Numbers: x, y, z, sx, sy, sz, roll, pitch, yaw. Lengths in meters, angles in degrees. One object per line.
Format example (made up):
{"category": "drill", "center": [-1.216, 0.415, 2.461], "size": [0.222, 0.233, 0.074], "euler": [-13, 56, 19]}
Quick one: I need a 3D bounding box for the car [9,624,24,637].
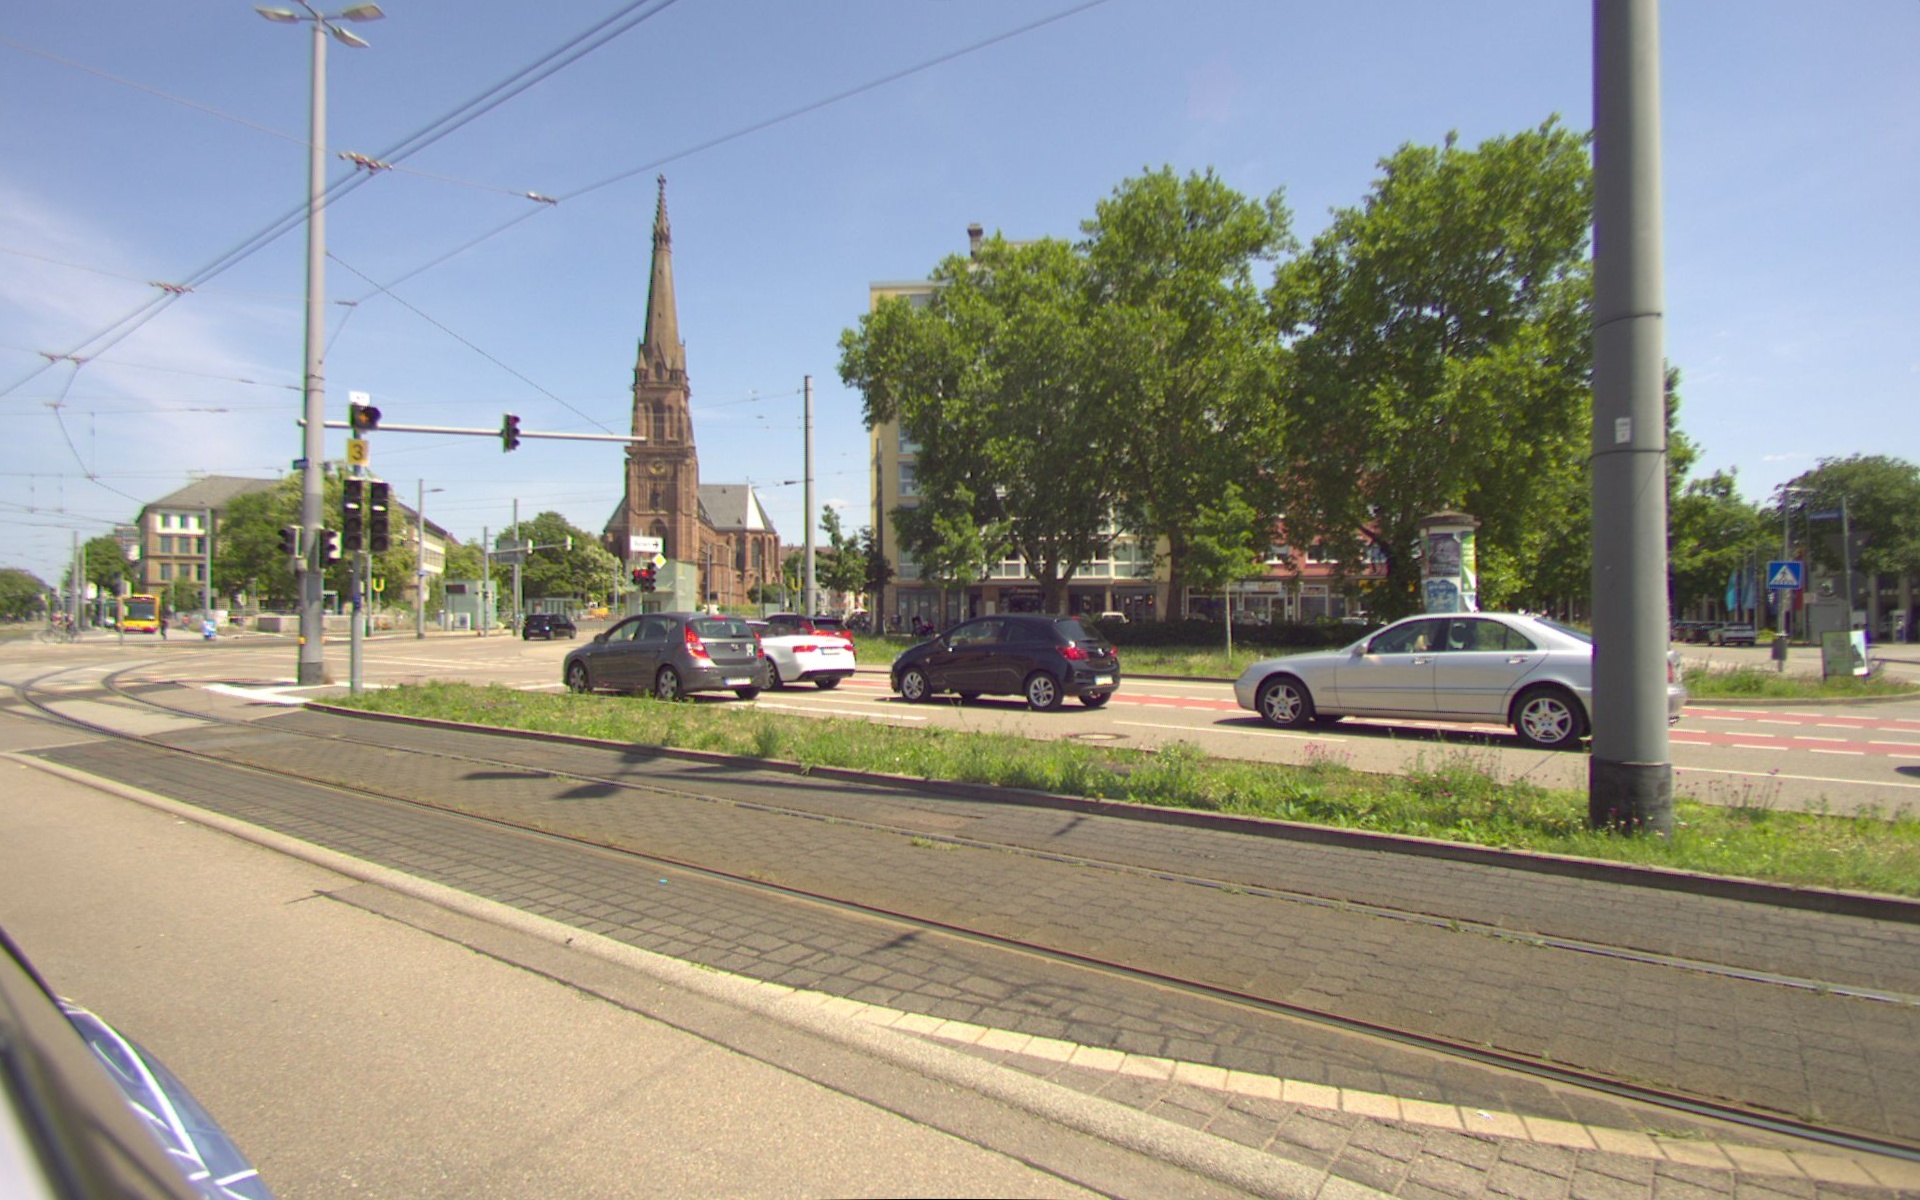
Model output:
{"category": "car", "center": [-122.261, 3.935, 131.181], "size": [1.420, 1.608, 4.004], "euler": [1, -2, -43]}

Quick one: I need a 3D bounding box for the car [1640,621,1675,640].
{"category": "car", "center": [57.707, 2.506, 83.753], "size": [1.821, 1.570, 3.964], "euler": [-1, -1, 26]}

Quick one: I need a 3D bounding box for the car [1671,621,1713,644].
{"category": "car", "center": [52.680, 2.326, 72.904], "size": [1.821, 1.570, 3.964], "euler": [-1, -1, 26]}

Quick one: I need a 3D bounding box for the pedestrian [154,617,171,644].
{"category": "pedestrian", "center": [-48.916, 1.874, 62.073], "size": [0.446, 1.684, 0.652], "euler": [-1, -1, 21]}

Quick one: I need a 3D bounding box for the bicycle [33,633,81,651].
{"category": "bicycle", "center": [-50.175, 2.330, 56.246], "size": [0.527, 0.986, 1.885], "euler": [-1, -1, 32]}

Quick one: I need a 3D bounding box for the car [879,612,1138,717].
{"category": "car", "center": [0.703, 0.963, 16.146], "size": [3.897, 1.473, 1.655], "euler": [-1, -2, 37]}

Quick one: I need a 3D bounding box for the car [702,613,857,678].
{"category": "car", "center": [-4.918, 1.212, 27.244], "size": [4.392, 1.610, 1.519], "euler": [-1, -3, 37]}

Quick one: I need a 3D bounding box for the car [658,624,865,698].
{"category": "car", "center": [-4.029, 1.164, 20.238], "size": [4.196, 1.309, 1.691], "euler": [-1, -3, 37]}

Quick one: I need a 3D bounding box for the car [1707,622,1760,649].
{"category": "car", "center": [47.614, 2.152, 62.342], "size": [1.821, 1.570, 3.964], "euler": [-1, -1, 26]}

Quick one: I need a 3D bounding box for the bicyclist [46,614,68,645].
{"category": "bicyclist", "center": [-50.236, 1.642, 56.307], "size": [0.527, 1.701, 0.804], "euler": [-1, -1, 32]}

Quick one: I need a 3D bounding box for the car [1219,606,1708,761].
{"category": "car", "center": [5.998, 0.896, 12.442], "size": [5.123, 1.542, 1.975], "euler": [-1, -3, 37]}

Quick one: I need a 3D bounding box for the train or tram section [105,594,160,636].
{"category": "train or tram section", "center": [-67.564, 1.275, 82.558], "size": [2.801, 3.238, 9.118], "euler": [1, -2, -43]}

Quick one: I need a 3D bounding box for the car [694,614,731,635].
{"category": "car", "center": [-18.722, 1.872, 76.747], "size": [1.755, 1.541, 3.997], "euler": [0, -1, 2]}

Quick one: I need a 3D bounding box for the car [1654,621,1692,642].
{"category": "car", "center": [54.924, 2.411, 78.014], "size": [1.821, 1.570, 3.964], "euler": [-1, -1, 26]}

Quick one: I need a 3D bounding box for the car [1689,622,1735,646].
{"category": "car", "center": [50.829, 2.252, 68.476], "size": [1.821, 1.570, 3.964], "euler": [-1, -1, 26]}

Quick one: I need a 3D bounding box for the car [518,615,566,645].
{"category": "car", "center": [-22.912, 1.623, 55.537], "size": [1.315, 1.586, 3.388], "euler": [-1, 0, -1]}

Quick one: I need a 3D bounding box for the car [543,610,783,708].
{"category": "car", "center": [-5.183, 0.971, 17.423], "size": [4.324, 1.491, 1.825], "euler": [-2, -3, 39]}
